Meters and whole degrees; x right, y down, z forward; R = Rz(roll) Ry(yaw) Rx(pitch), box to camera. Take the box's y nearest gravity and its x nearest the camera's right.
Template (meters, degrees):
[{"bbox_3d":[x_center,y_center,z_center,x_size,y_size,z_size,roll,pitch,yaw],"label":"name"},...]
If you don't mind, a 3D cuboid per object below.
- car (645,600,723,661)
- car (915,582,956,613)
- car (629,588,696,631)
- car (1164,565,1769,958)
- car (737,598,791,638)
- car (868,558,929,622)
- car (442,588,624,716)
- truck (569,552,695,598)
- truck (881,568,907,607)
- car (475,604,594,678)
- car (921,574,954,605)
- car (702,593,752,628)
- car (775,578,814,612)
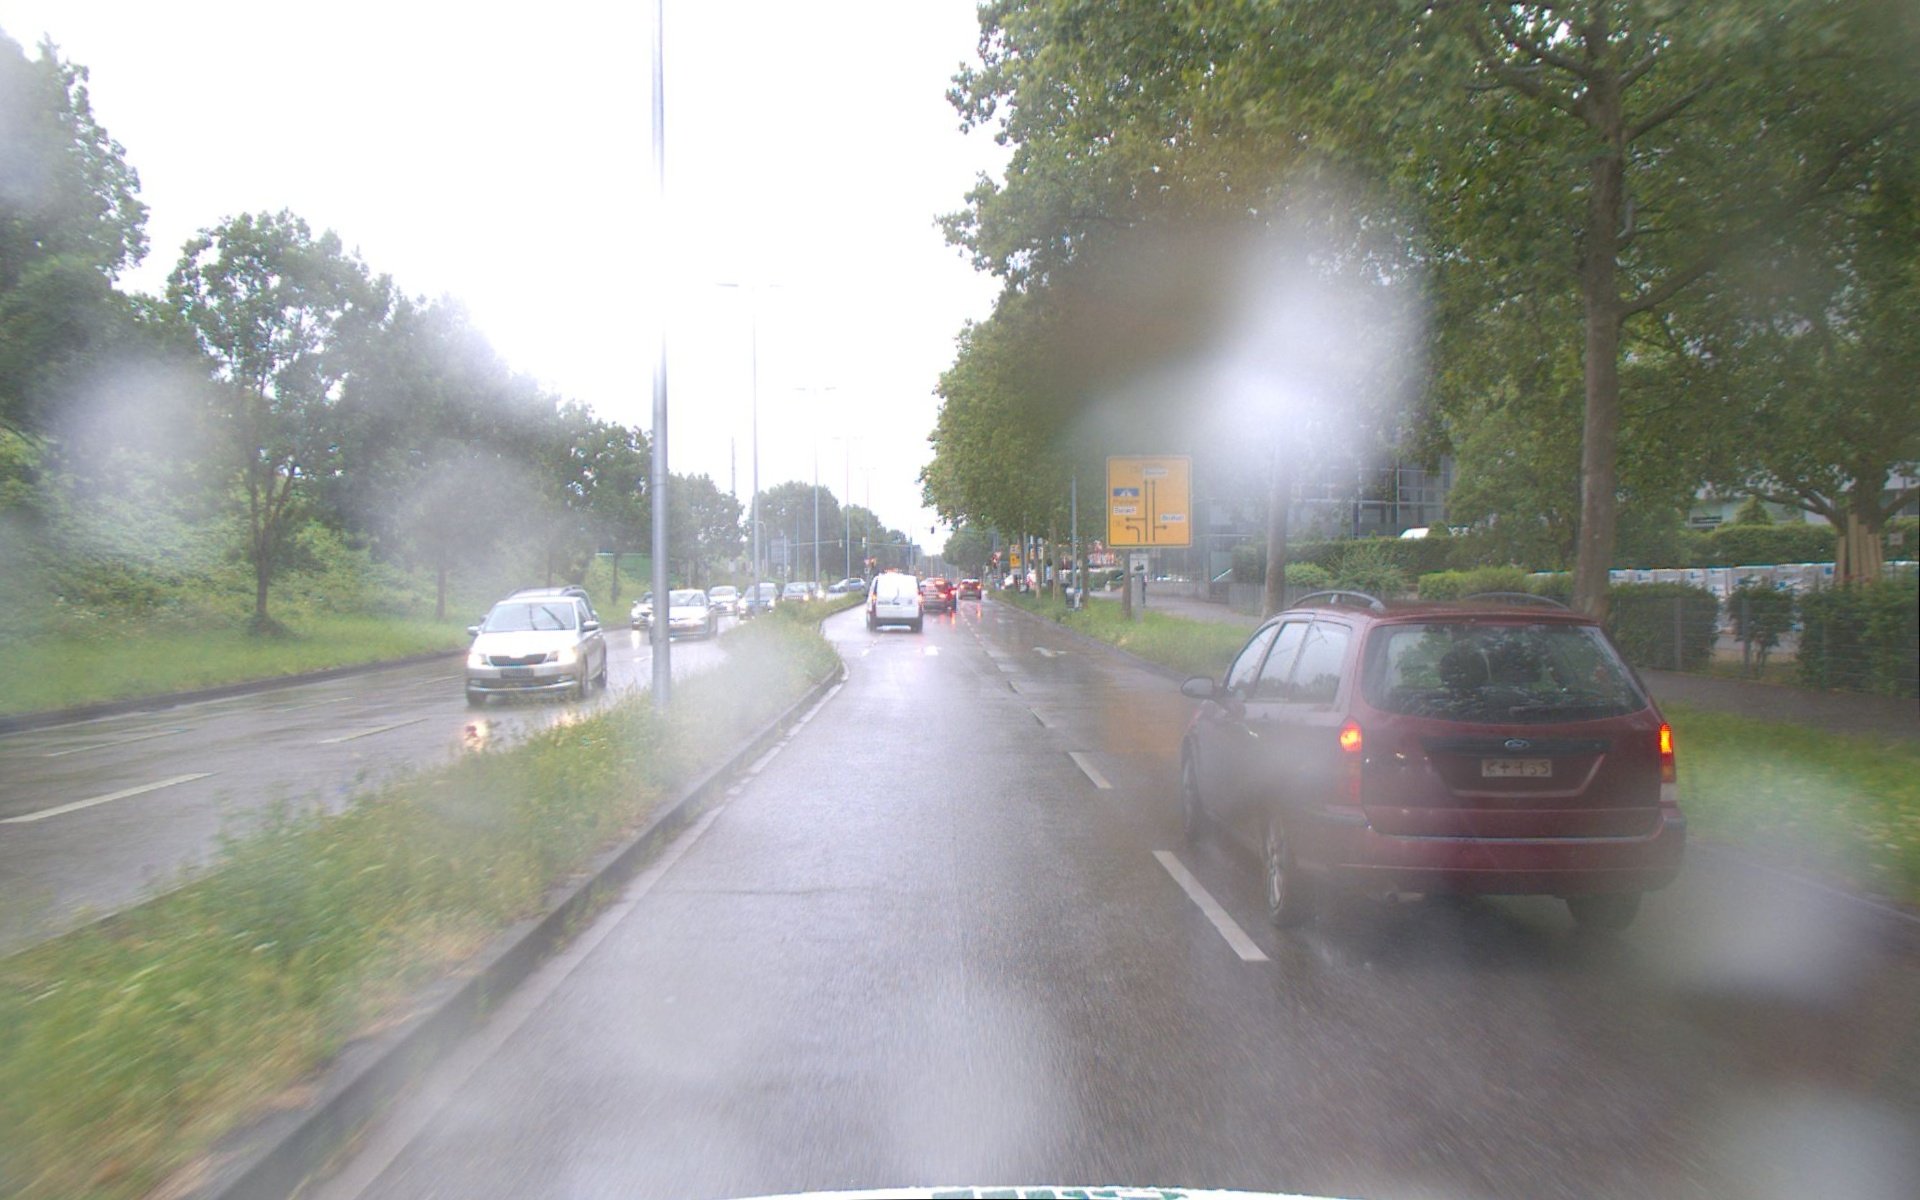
[{"bbox_3d":[-8.078,0.854,48.751,1.872,1.601,4.703,-3,1,-6],"label":"car"},{"bbox_3d":[-1.236,-0.129,82.308,1.953,1.477,3.998,0,0,-3],"label":"car"},{"bbox_3d":[-11.553,0.325,64.437,1.798,1.528,4.439,-2,1,-1],"label":"car"},{"bbox_3d":[2.289,0.644,8.679,1.802,1.563,4.110,1,0,-2],"label":"car"},{"bbox_3d":[-8.851,0.784,75.014,1.870,1.601,4.708,-4,1,-1],"label":"car"},{"bbox_3d":[-2.046,-0.293,54.941,1.953,2.049,3.998,0,-1,-2],"label":"car"},{"bbox_3d":[-6.225,0.701,24.587,1.862,1.641,4.107,-3,0,-5],"label":"car"},{"bbox_3d":[-26.709,-1.998,135.159,10.037,3.512,2.622,1,-1,-38],"label":"truck"},{"bbox_3d":[-4.389,-0.836,110.341,1.721,2.509,3.998,0,0,-2],"label":"truck"},{"bbox_3d":[-11.219,1.045,43.942,1.953,1.717,4.708,-2,1,-1],"label":"car"},{"bbox_3d":[-1.213,-0.603,88.529,1.674,1.577,3.999,0,1,-2],"label":"car"},{"bbox_3d":[-11.996,0.501,85.285,1.870,1.601,4.708,-4,1,-1],"label":"car"},{"bbox_3d":[-9.297,-0.328,93.112,1.787,1.602,4.361,2,3,-1],"label":"car"}]
